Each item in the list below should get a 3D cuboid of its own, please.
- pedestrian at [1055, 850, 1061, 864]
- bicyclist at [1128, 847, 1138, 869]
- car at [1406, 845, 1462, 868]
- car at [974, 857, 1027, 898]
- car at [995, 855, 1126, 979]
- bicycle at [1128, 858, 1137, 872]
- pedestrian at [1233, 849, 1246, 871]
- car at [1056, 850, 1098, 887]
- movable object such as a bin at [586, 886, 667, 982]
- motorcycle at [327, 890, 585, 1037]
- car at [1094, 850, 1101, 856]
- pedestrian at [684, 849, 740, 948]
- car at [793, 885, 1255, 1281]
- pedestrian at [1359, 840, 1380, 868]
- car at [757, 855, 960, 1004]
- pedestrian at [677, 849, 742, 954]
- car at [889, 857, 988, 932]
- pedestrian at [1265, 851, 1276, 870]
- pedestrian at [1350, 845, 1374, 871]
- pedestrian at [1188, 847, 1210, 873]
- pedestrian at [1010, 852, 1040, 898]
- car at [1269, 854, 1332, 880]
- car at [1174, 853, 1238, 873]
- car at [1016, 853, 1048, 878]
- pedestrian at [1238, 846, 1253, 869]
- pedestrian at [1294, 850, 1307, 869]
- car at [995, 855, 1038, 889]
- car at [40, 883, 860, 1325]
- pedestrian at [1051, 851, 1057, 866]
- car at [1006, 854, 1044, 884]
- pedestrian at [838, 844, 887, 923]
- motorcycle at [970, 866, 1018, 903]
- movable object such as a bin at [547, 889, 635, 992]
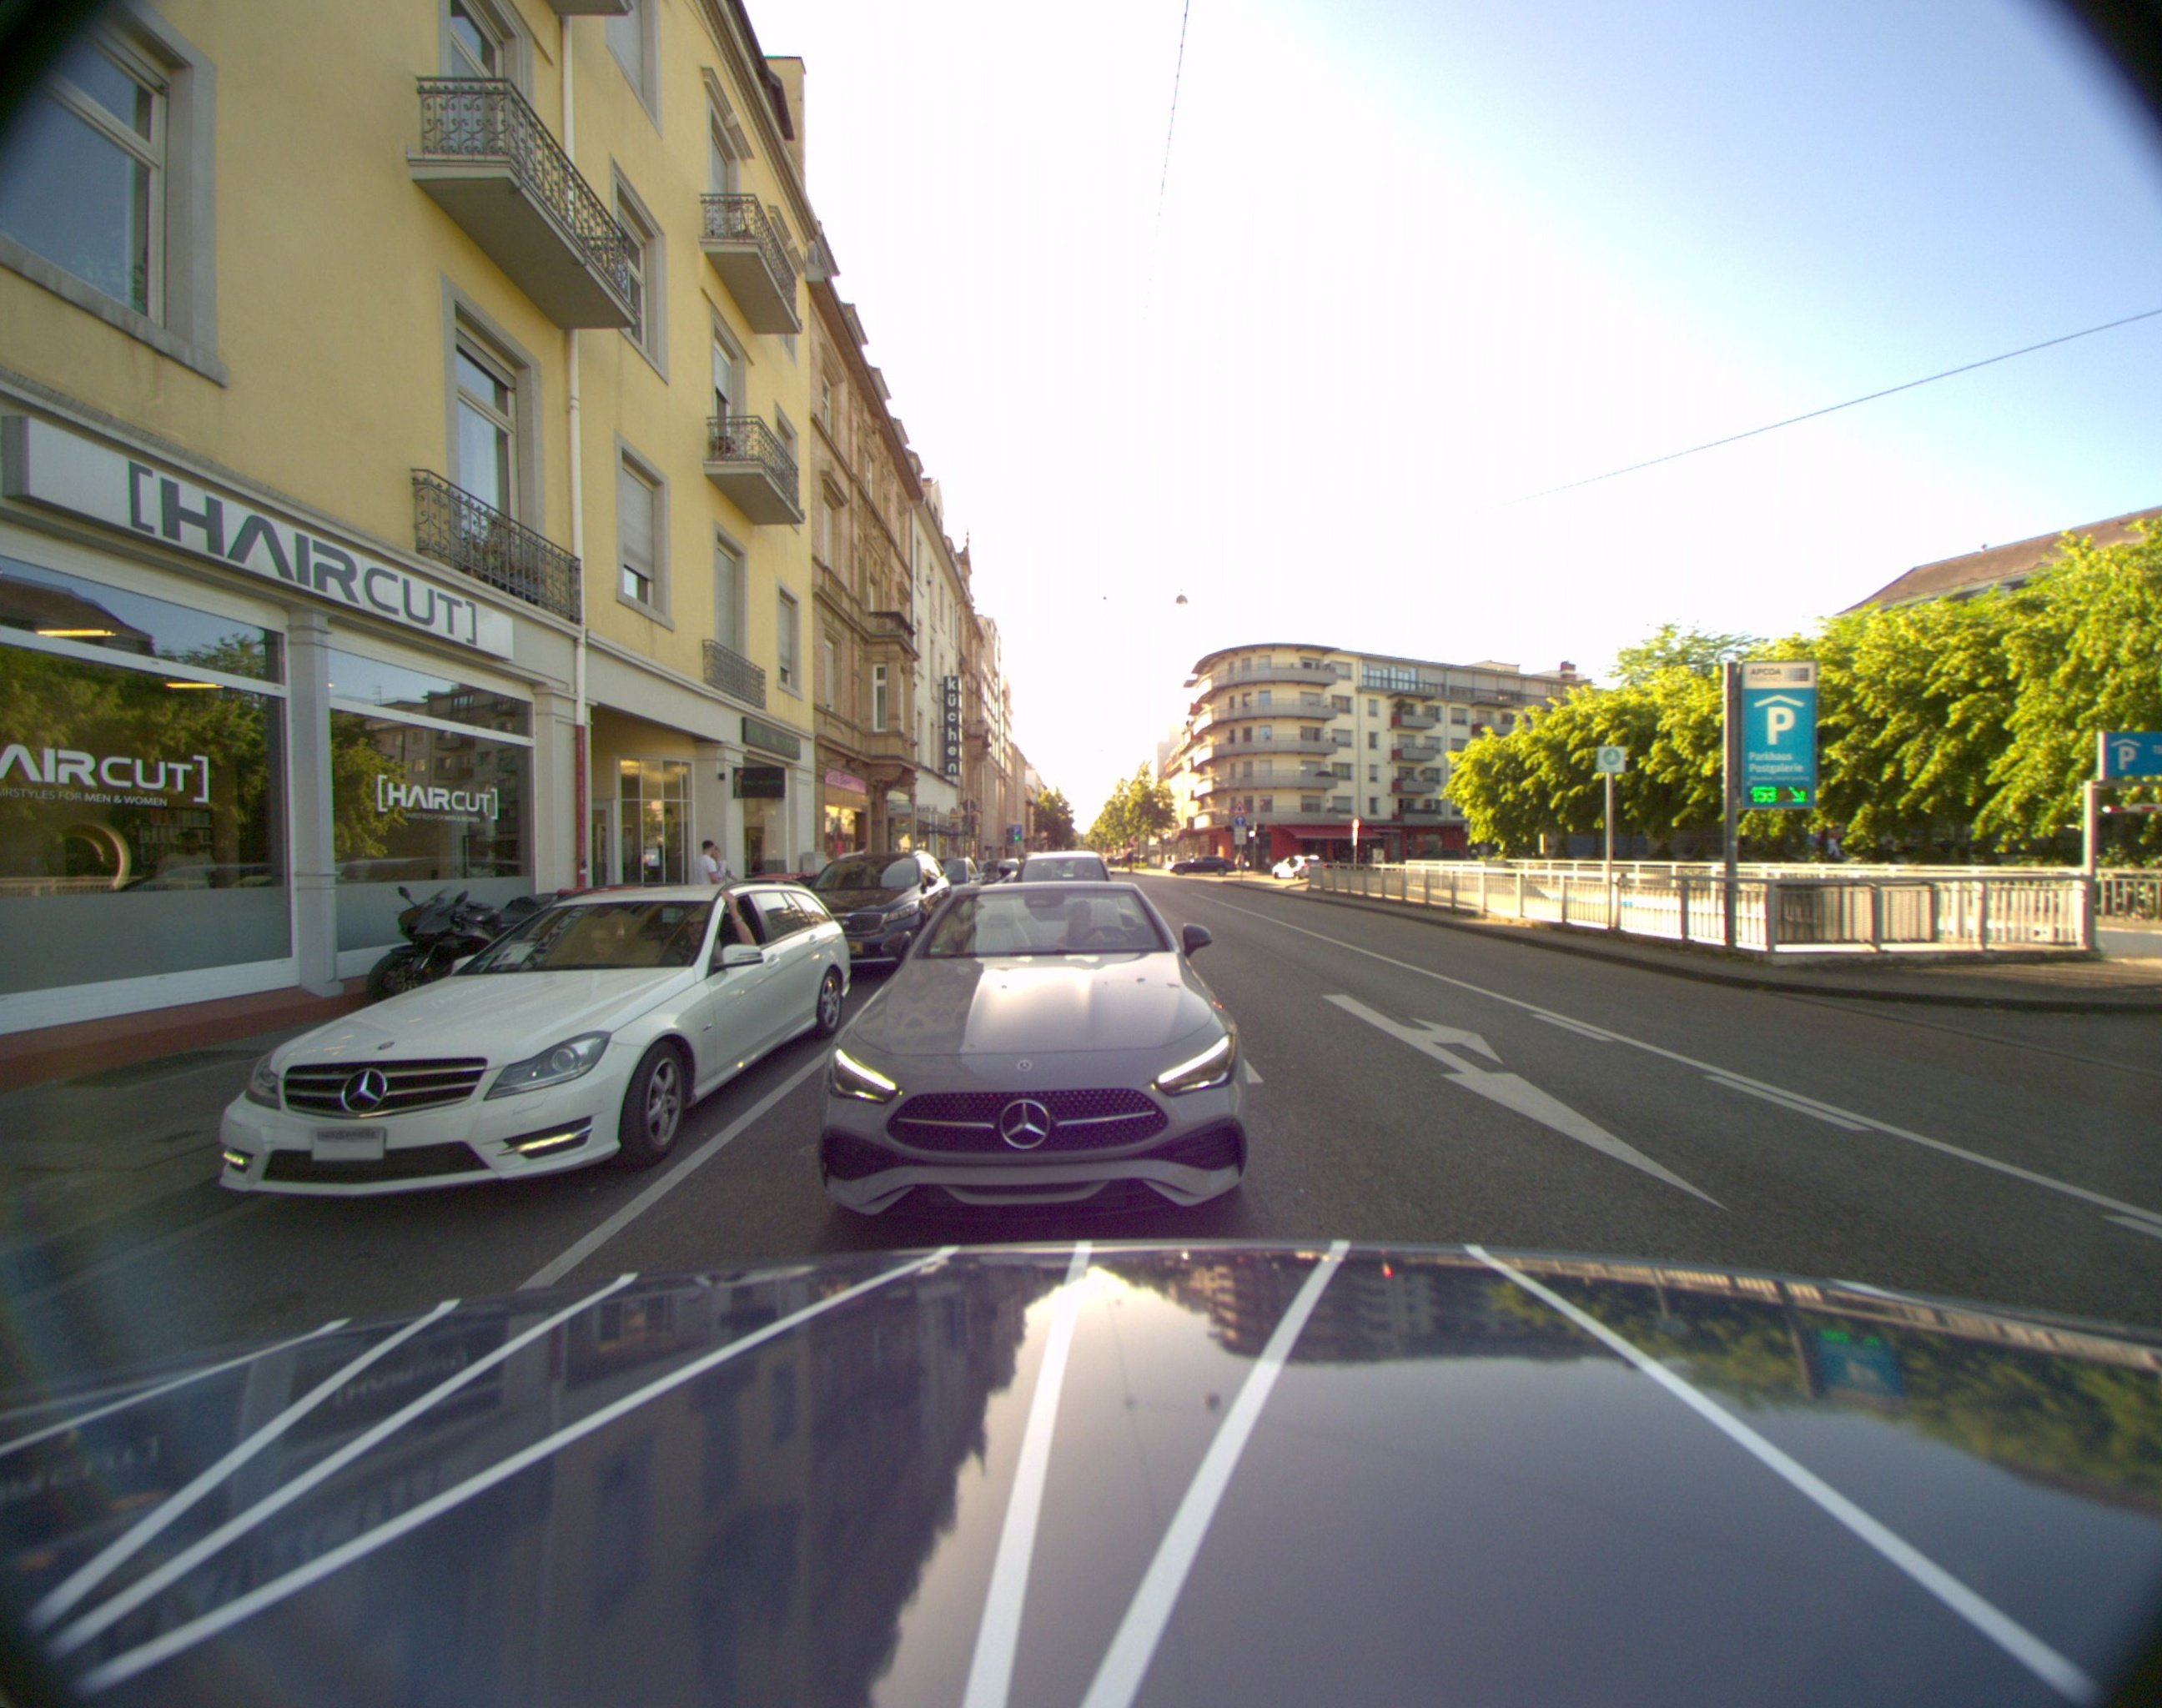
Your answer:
[{"bbox_3d":[-2.968,0.341,98.518,0.467,1.769,0.567,-2,1,-29],"label":"pedestrian"},{"bbox_3d":[4.016,0.331,58.551,0.757,1.651,1.144,-1,1,5],"label":"bicyclist"},{"bbox_3d":[29.040,0.172,62.455,4.004,1.740,1.996,-2,1,-23],"label":"car"},{"bbox_3d":[-3.189,0.891,30.730,1.715,1.477,3.999,-1,0,0],"label":"car"},{"bbox_3d":[-0.245,0.847,12.181,1.716,1.599,4.000,-1,0,1],"label":"car"},{"bbox_3d":[3.966,0.833,58.472,0.661,1.083,1.971,-1,0,4],"label":"bicycle"},{"bbox_3d":[12.374,0.435,59.306,0.676,1.696,0.698,-2,1,-35],"label":"pedestrian"},{"bbox_3d":[-0.153,0.683,38.090,1.952,1.742,4.000,-1,0,1],"label":"car"},{"bbox_3d":[-6.052,1.050,10.144,0.647,1.200,0.644,-1,1,1],"label":"movable object such as a bin"},{"bbox_3d":[-6.255,1.020,7.830,0.773,1.158,2.247,1,0,1],"label":"motorcycle"},{"bbox_3d":[4.560,-0.304,212.405,1.998,1.805,4.000,-1,0,1],"label":"car"},{"bbox_3d":[-6.218,0.732,12.832,0.572,1.607,0.643,-1,1,2],"label":"pedestrian"},{"bbox_3d":[-0.251,1.026,5.247,1.849,1.371,4.255,-2,0,-1],"label":"car"},{"bbox_3d":[21.089,-0.004,55.532,1.316,2.002,1.298,-1,1,25],"label":"pedestrian"},{"bbox_3d":[-2.998,0.889,11.334,1.858,1.688,4.697,-1,0,-4],"label":"car"},{"bbox_3d":[-5.875,0.728,12.053,0.642,1.607,0.701,-1,1,-1],"label":"pedestrian"},{"bbox_3d":[-3.272,0.888,17.969,1.696,1.559,3.018,-1,0,1],"label":"car"},{"bbox_3d":[15.059,0.497,60.275,0.791,1.452,0.583,-1,1,10],"label":"pedestrian"},{"bbox_3d":[21.879,0.325,59.171,1.234,2.002,1.259,-2,1,-21],"label":"pedestrian"},{"bbox_3d":[9.215,0.465,59.367,1.202,2.002,1.018,-3,1,-37],"label":"pedestrian"},{"bbox_3d":[-2.057,0.755,27.738,0.695,1.657,0.832,-2,1,-42],"label":"pedestrian"},{"bbox_3d":[13.050,0.751,45.506,1.804,1.426,4.246,-2,0,-12],"label":"car"},{"bbox_3d":[8.668,0.604,52.624,4.281,1.375,2.002,0,1,13],"label":"car"},{"bbox_3d":[-3.018,0.687,47.597,1.715,1.477,4.062,-1,0,0],"label":"car"},{"bbox_3d":[12.866,0.281,59.465,0.756,1.795,0.755,-2,1,-41],"label":"pedestrian"},{"bbox_3d":[17.696,0.437,61.158,0.583,1.453,0.790,-2,1,-37],"label":"pedestrian"},{"bbox_3d":[-3.044,0.809,36.485,1.715,1.477,3.999,-1,0,0],"label":"car"},{"bbox_3d":[-3.069,1.042,5.201,1.759,1.453,4.597,-1,0,0],"label":"car"},{"bbox_3d":[-3.543,0.547,98.044,0.528,1.875,0.567,-2,1,-29],"label":"pedestrian"},{"bbox_3d":[-2.976,0.759,41.002,1.715,1.477,3.999,-1,0,0],"label":"car"},{"bbox_3d":[-4.588,0.611,15.999,0.795,1.607,0.763,-1,1,-1],"label":"pedestrian"},{"bbox_3d":[-3.051,1.044,26.791,0.769,1.225,1.546,-1,1,42],"label":"motorcycle"},{"bbox_3d":[-6.102,1.059,9.492,0.647,1.200,0.644,-1,1,1],"label":"movable object such as a bin"}]
